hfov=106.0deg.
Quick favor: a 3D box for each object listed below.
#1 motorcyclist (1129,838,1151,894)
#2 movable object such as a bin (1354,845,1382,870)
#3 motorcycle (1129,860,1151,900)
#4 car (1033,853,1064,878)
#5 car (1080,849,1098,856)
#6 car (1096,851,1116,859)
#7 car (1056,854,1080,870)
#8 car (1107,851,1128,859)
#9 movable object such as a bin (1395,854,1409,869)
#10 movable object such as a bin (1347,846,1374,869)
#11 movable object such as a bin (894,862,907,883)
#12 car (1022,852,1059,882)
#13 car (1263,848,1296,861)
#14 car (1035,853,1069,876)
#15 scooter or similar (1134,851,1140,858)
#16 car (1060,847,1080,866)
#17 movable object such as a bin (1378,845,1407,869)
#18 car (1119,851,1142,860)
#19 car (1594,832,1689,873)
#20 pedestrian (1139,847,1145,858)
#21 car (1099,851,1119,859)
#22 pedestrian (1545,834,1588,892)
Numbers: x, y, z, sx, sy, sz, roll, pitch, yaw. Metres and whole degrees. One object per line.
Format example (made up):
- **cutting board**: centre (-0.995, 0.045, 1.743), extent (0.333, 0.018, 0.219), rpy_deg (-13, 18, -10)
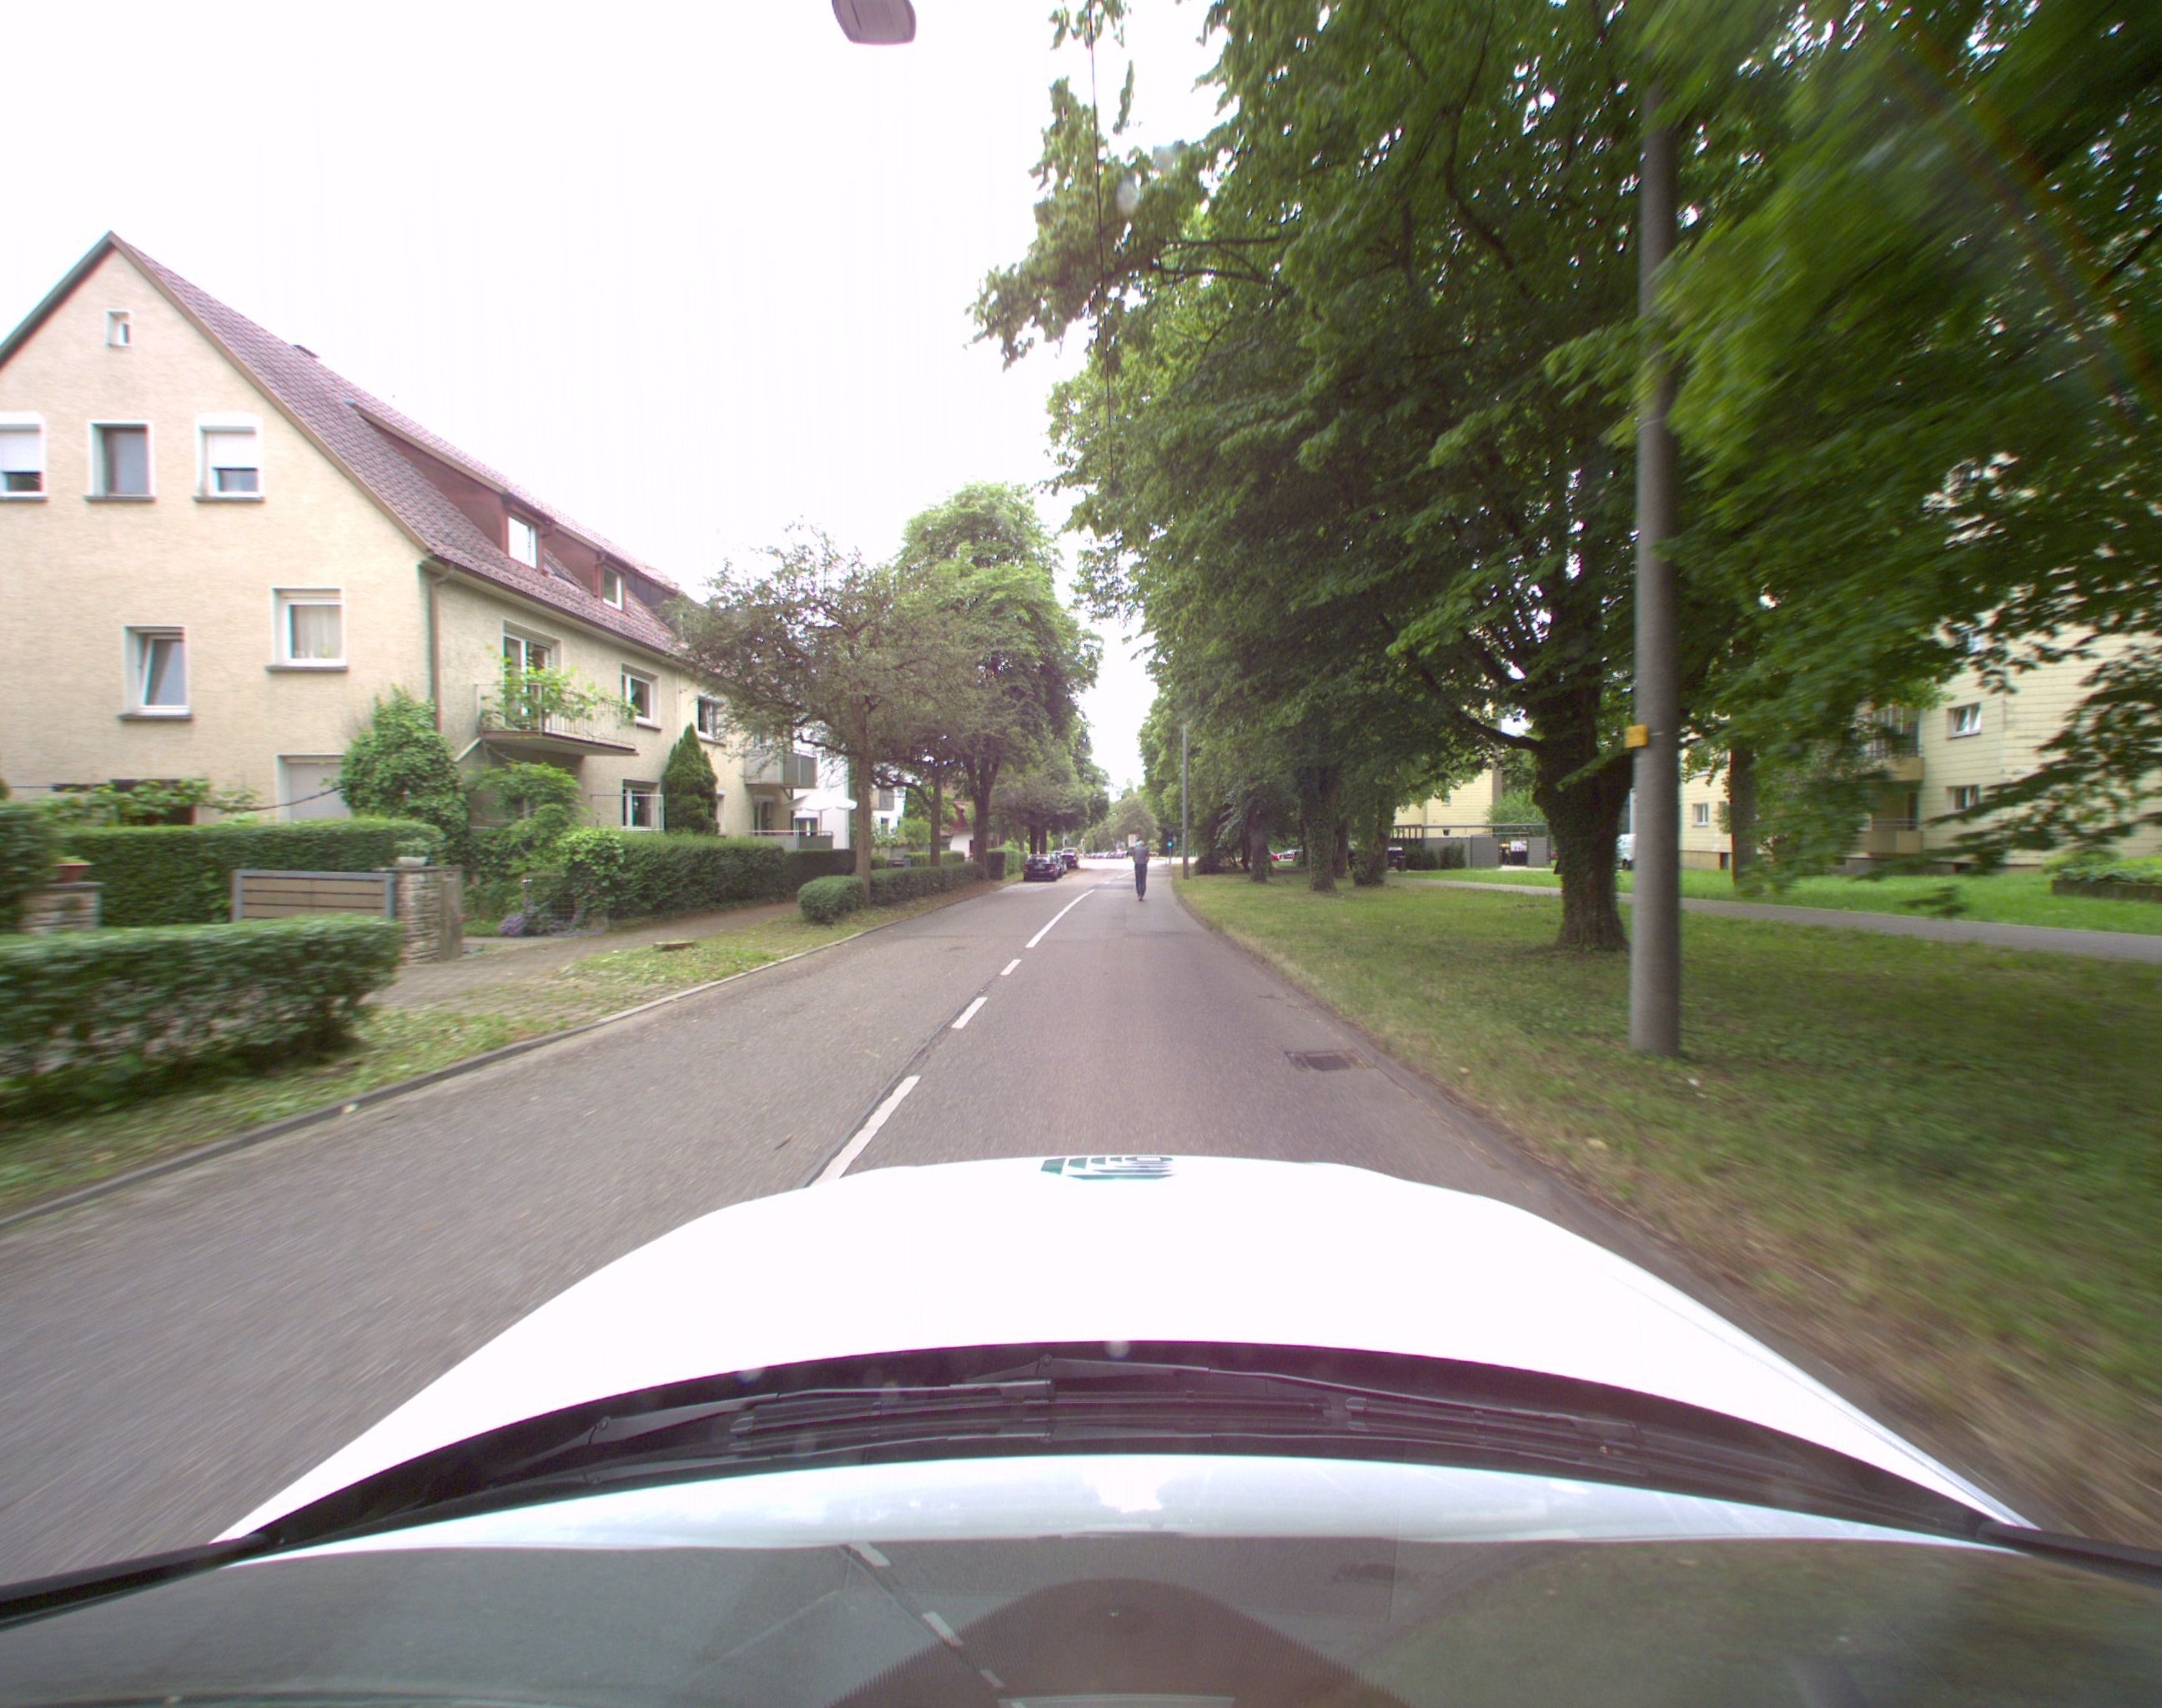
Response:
- **motorcyclist**: centre (1.898, 0.379, 26.106), extent (0.670, 1.761, 0.639), rpy_deg (1, 0, 3)
- **movable object such as a bin**: centre (18.522, 0.220, 52.578), extent (1.322, 1.501, 1.314), rpy_deg (-2, 0, 0)
- **motorcycle**: centre (1.880, 0.806, 25.922), extent (0.670, 1.217, 1.275), rpy_deg (1, 0, 4)
- **car**: centre (-1.950, 0.666, 49.568), extent (1.659, 1.391, 3.706), rpy_deg (-1, 0, 0)
- **car**: centre (1.884, -0.246, 183.868), extent (3.975, 1.510, 1.800), rpy_deg (-1, 0, -1)
- **car**: centre (5.162, 0.241, 169.146), extent (3.975, 1.510, 1.800), rpy_deg (-1, 0, -1)
- **car**: centre (-1.190, 0.733, 75.578), extent (1.884, 1.410, 4.557), rpy_deg (-1, 0, 3)
- **car**: centre (6.971, 0.219, 156.460), extent (3.975, 1.510, 1.800), rpy_deg (-1, 0, -1)
- **movable object such as a bin**: centre (19.927, 0.469, 50.564), extent (0.597, 0.878, 0.669), rpy_deg (-2, 0, 0)
- **movable object such as a bin**: centre (18.502, 0.221, 54.013), extent (1.322, 1.501, 1.314), rpy_deg (-2, 0, 0)
- **movable object such as a bin**: centre (-7.994, 0.825, 36.023), extent (0.455, 0.915, 0.508), rpy_deg (-1, 0, -4)
- **car**: centre (-2.155, 0.673, 44.498), extent (1.788, 1.472, 4.418), rpy_deg (-1, 0, 0)
- **car**: centre (25.416, 0.071, 104.276), extent (3.958, 1.557, 1.808), rpy_deg (1, 3, 14)
- **car**: centre (-1.929, 0.677, 55.280), extent (1.786, 1.410, 4.649), rpy_deg (-1, 0, 3)
- **scooter or similar**: centre (8.533, 0.129, 123.566), extent (0.704, 1.049, 0.791), rpy_deg (-1, 0, 21)
- **car**: centre (-1.198, 0.283, 86.383), extent (1.853, 1.964, 4.499), rpy_deg (-1, 0, -3)
- **movable object such as a bin**: centre (20.070, 0.166, 52.519), extent (1.322, 1.501, 1.314), rpy_deg (-2, 0, 0)
- **car**: centre (8.672, 0.244, 142.417), extent (3.975, 1.510, 1.800), rpy_deg (-1, 0, -1)
- **car**: centre (27.806, -0.132, 40.638), extent (2.073, 1.842, 4.983), rpy_deg (-2, 1, 11)
- **pedestrian**: centre (9.221, -0.246, 123.290), extent (0.726, 1.762, 0.665), rpy_deg (-1, -1, 21)
- **car**: centre (5.814, 0.246, 167.226), extent (3.975, 1.510, 1.800), rpy_deg (-1, 0, -1)
- **pedestrian**: centre (14.511, 0.254, 24.350), extent (0.765, 1.686, 0.815), rpy_deg (-2, 0, 1)
